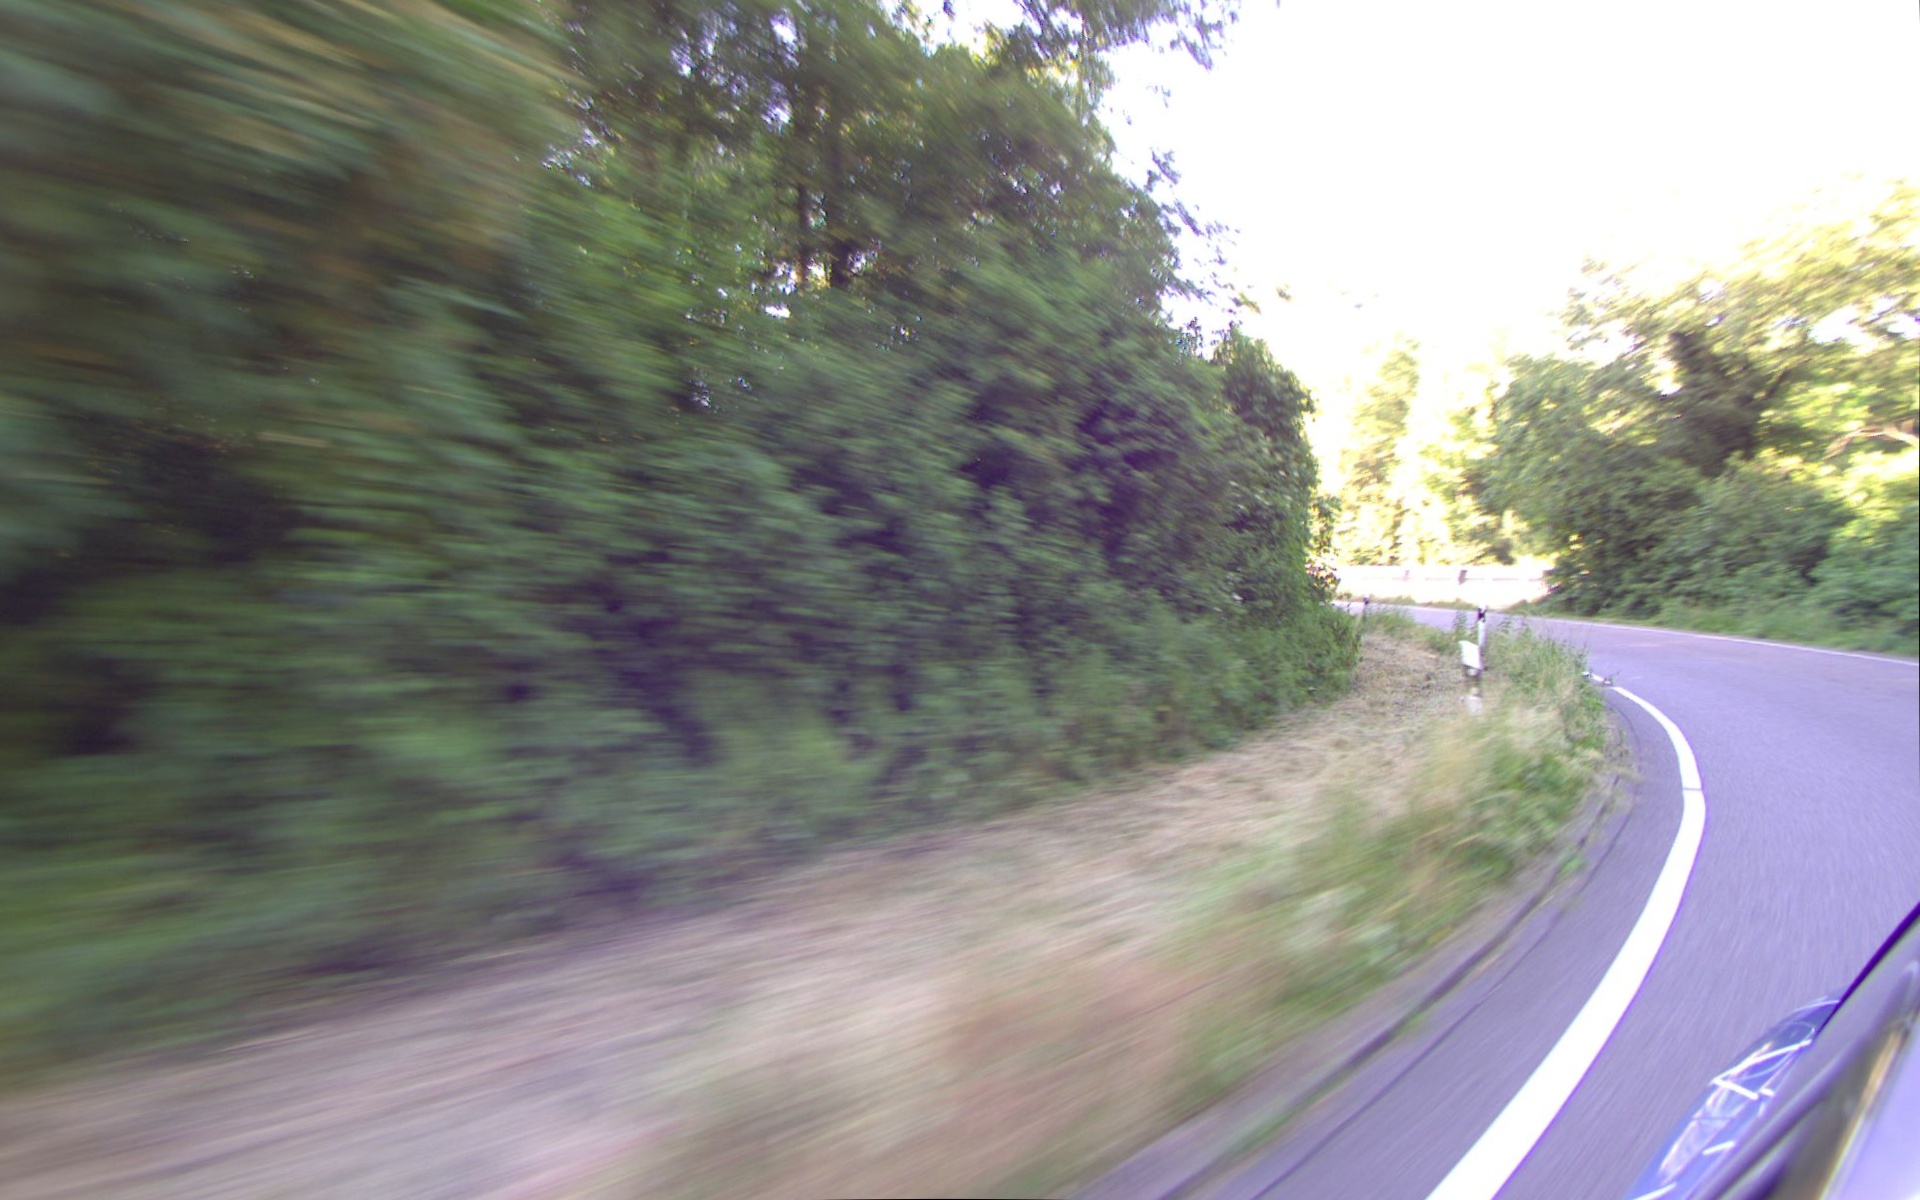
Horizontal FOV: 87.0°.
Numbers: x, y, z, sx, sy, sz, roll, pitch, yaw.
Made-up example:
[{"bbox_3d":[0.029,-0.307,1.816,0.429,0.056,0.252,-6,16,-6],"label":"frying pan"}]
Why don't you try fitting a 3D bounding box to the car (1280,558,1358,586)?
[{"bbox_3d":[21.461,-1.689,60.521,4.211,1.575,1.536,2,2,30],"label":"car"}]
